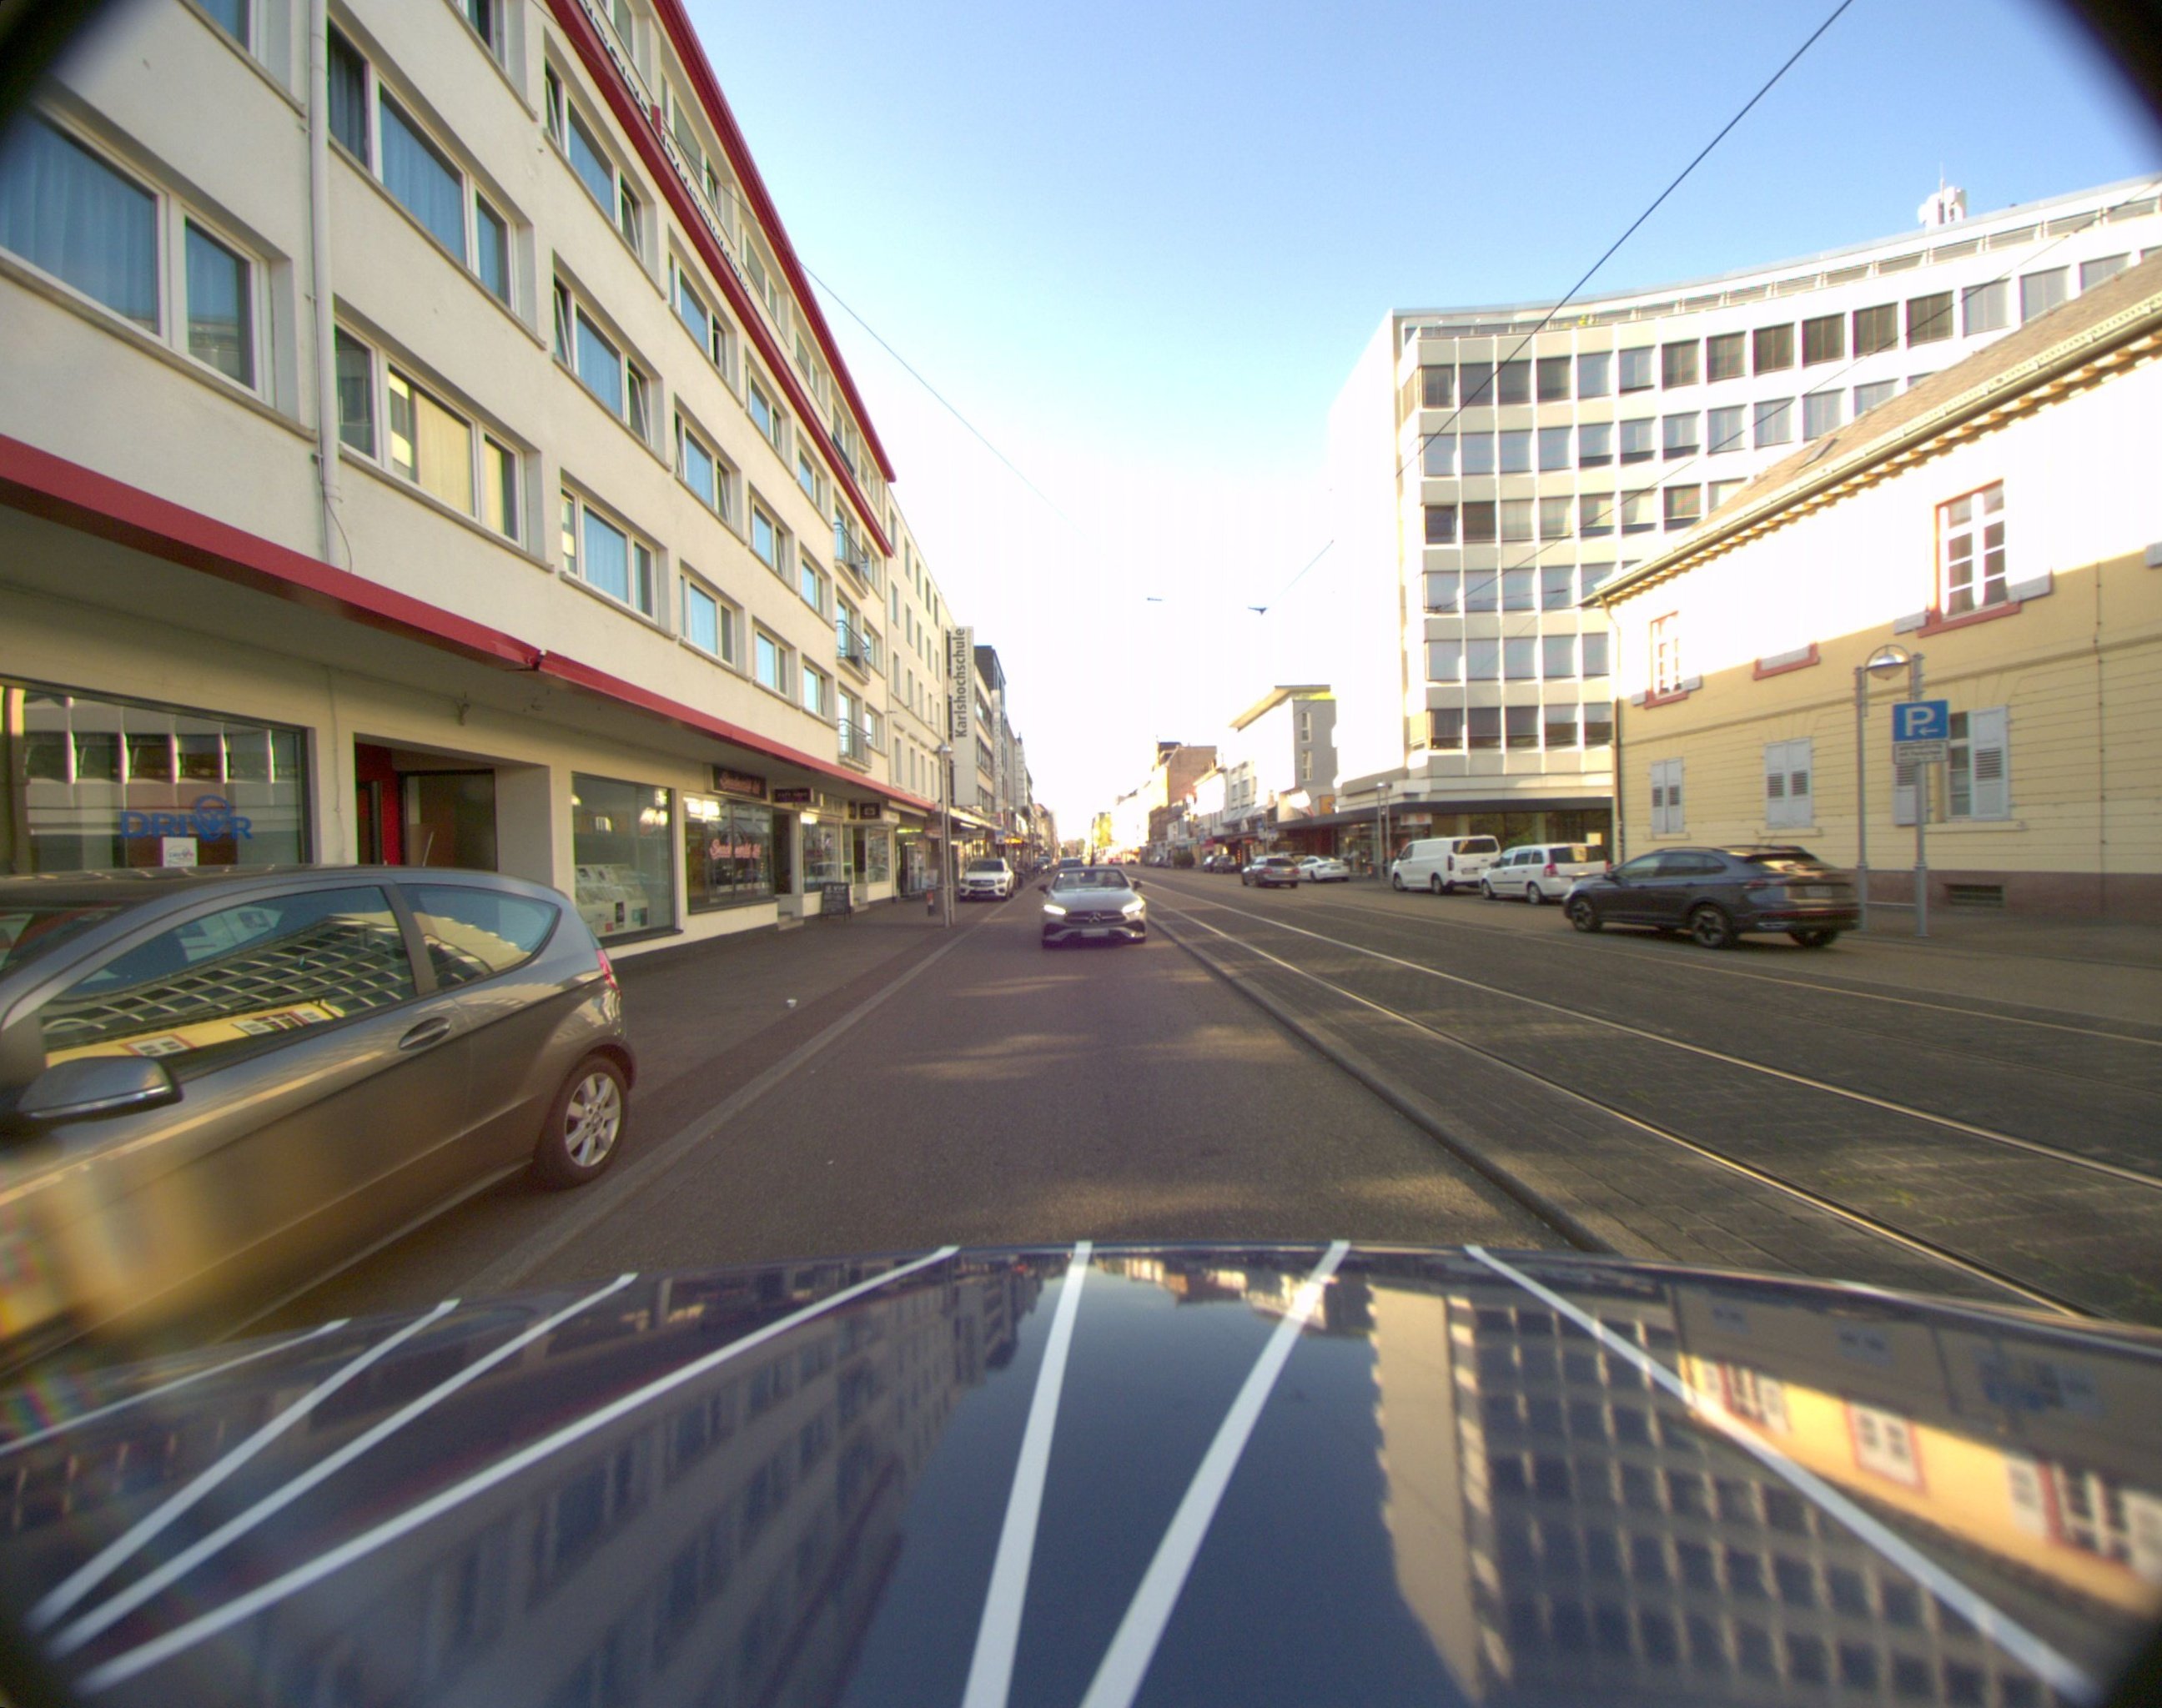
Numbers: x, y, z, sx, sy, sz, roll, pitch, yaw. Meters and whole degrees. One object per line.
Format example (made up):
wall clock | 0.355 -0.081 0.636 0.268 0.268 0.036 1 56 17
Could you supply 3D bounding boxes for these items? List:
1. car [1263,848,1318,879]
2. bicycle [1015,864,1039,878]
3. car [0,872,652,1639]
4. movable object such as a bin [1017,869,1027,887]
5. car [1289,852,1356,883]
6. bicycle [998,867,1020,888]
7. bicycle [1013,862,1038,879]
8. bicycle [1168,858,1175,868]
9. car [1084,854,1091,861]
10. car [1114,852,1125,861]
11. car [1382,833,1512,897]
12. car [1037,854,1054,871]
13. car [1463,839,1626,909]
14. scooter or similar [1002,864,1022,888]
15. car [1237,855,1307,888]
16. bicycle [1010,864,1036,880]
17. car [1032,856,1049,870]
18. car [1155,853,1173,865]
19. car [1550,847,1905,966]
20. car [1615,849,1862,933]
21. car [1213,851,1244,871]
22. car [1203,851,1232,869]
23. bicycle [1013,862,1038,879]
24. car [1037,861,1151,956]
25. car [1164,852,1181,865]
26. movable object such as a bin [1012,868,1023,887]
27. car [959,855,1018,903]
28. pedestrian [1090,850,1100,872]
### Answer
car | 12.787 0.554 46.633 1.983 1.669 4.654 -4 0 0
bicycle | -4.113 1.282 57.803 1.778 1.026 0.596 -1 0 -2
car | -3.239 0.910 2.348 1.749 1.622 3.648 0 0 0
movable object such as a bin | -3.310 1.325 42.387 0.489 0.952 0.458 -1 1 2
car | 12.807 0.664 40.560 1.893 1.413 4.655 -4 0 -2
bicycle | -3.824 1.252 40.137 1.134 1.073 0.320 0 1 -2
bicycle | -4.076 1.205 55.661 1.792 1.210 0.669 -1 0 -2
bicycle | 10.852 1.058 91.332 0.520 1.084 1.715 -4 1 -1
car | 1.864 0.990 214.496 1.998 2.002 3.999 -4 1 0
car | 7.471 0.528 148.674 1.802 1.625 3.675 -1 0 -1
car | 12.904 0.337 27.225 1.999 1.964 5.095 -4 1 -1
car | -4.271 1.002 91.368 1.821 1.849 4.548 -1 0 -4
car | 12.935 0.491 21.609 1.812 1.676 4.648 -4 0 2
scooter or similar | -3.673 1.167 40.487 0.995 1.224 0.320 0 1 -2
car | 8.906 0.772 35.899 1.885 1.487 4.929 0 0 -3
bicycle | -4.136 1.273 54.319 1.792 1.152 0.669 -1 0 -2
car | -4.540 1.043 85.090 1.726 1.476 4.415 0 0 -1
car | 11.769 0.661 107.832 1.822 1.505 4.762 -2 0 -1
car | 9.851 0.685 12.134 1.769 1.503 4.277 -2 0 -5
car | 12.899 0.641 15.246 1.618 1.392 3.719 -4 1 -1
car | 12.334 0.581 63.632 1.605 1.514 3.588 -4 1 -3
car | 12.468 0.539 69.726 1.741 1.514 4.851 -4 0 0
bicycle | -4.104 1.197 56.437 1.792 1.210 0.587 -1 0 -2
car | 0.169 0.934 15.034 1.858 1.463 4.785 -1 0 -1
car | 11.876 0.565 98.518 1.701 1.594 2.890 -3 1 -1
movable object such as a bin | -3.445 1.276 41.168 0.523 1.008 0.671 -1 1 2
car | -3.595 0.910 30.371 1.854 1.714 5.191 0 0 -1
pedestrian | 1.151 0.591 63.982 0.806 1.827 0.746 0 1 -2
